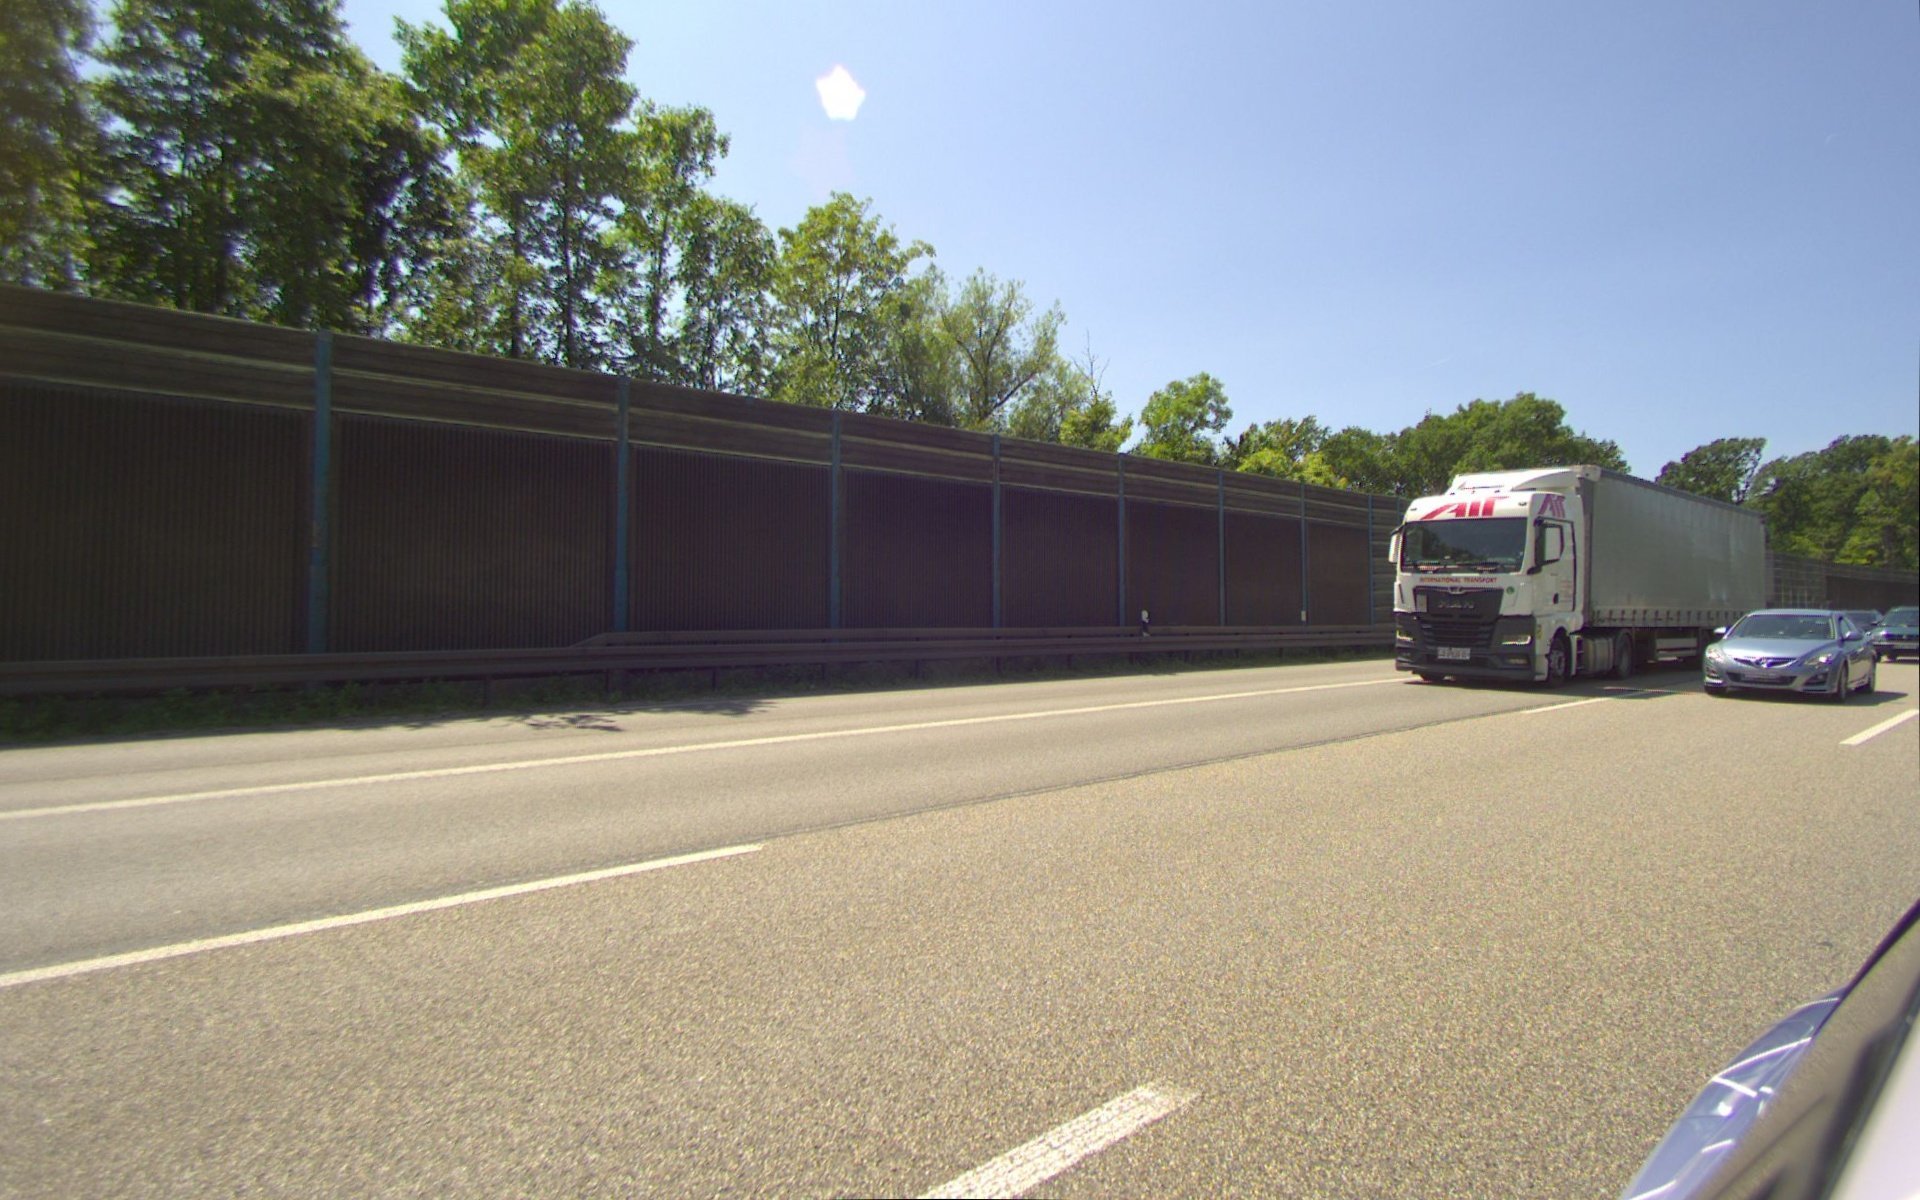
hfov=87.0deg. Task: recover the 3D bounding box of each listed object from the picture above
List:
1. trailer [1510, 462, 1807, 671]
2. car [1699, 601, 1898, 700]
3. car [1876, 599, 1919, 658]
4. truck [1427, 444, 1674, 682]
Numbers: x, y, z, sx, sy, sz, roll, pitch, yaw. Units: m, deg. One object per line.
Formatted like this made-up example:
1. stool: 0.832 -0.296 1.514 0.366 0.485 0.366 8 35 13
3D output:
1. trailer: 17.980 -0.678 25.361 13.348 4.142 2.603 0 0 -40
2. car: 14.096 0.760 16.942 4.102 1.452 1.859 1 -1 -40
3. car: 27.151 0.777 28.054 3.926 1.579 1.908 1 -1 -37
4. truck: 11.973 -0.656 20.363 5.453 4.142 2.604 0 0 -40
